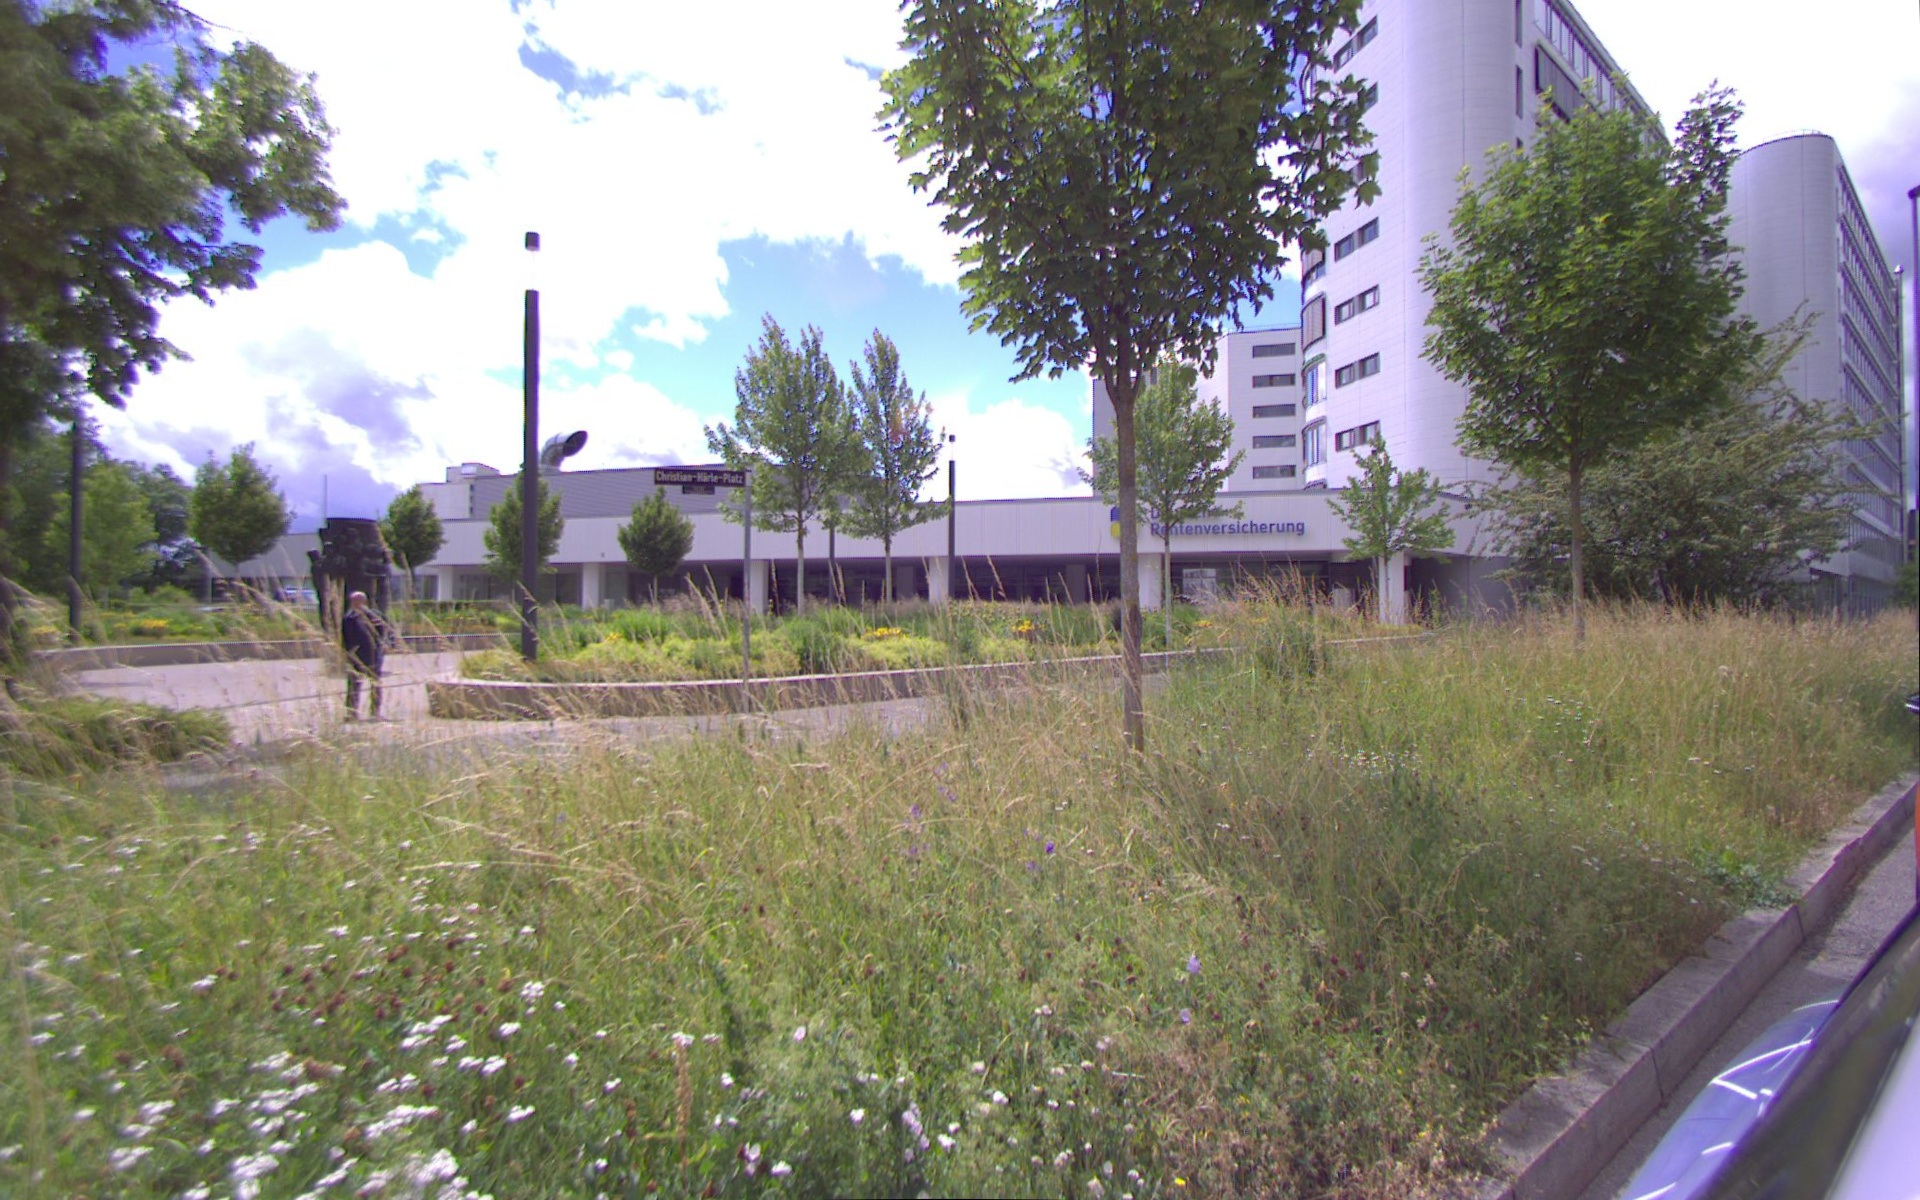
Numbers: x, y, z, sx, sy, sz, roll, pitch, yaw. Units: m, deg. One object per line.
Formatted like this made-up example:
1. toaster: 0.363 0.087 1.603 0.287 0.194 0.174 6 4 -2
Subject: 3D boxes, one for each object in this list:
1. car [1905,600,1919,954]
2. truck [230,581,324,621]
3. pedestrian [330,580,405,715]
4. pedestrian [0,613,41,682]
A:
1. car: 5.807 0.750 4.642 3.611 1.434 1.748 0 1 -41
2. truck: -36.147 0.057 53.577 3.941 2.039 1.991 1 0 14
3. pedestrian: -7.509 0.585 12.859 0.756 1.646 0.766 1 0 -27
4. pedestrian: -17.432 0.858 18.675 0.621 1.238 0.620 1 0 -36
